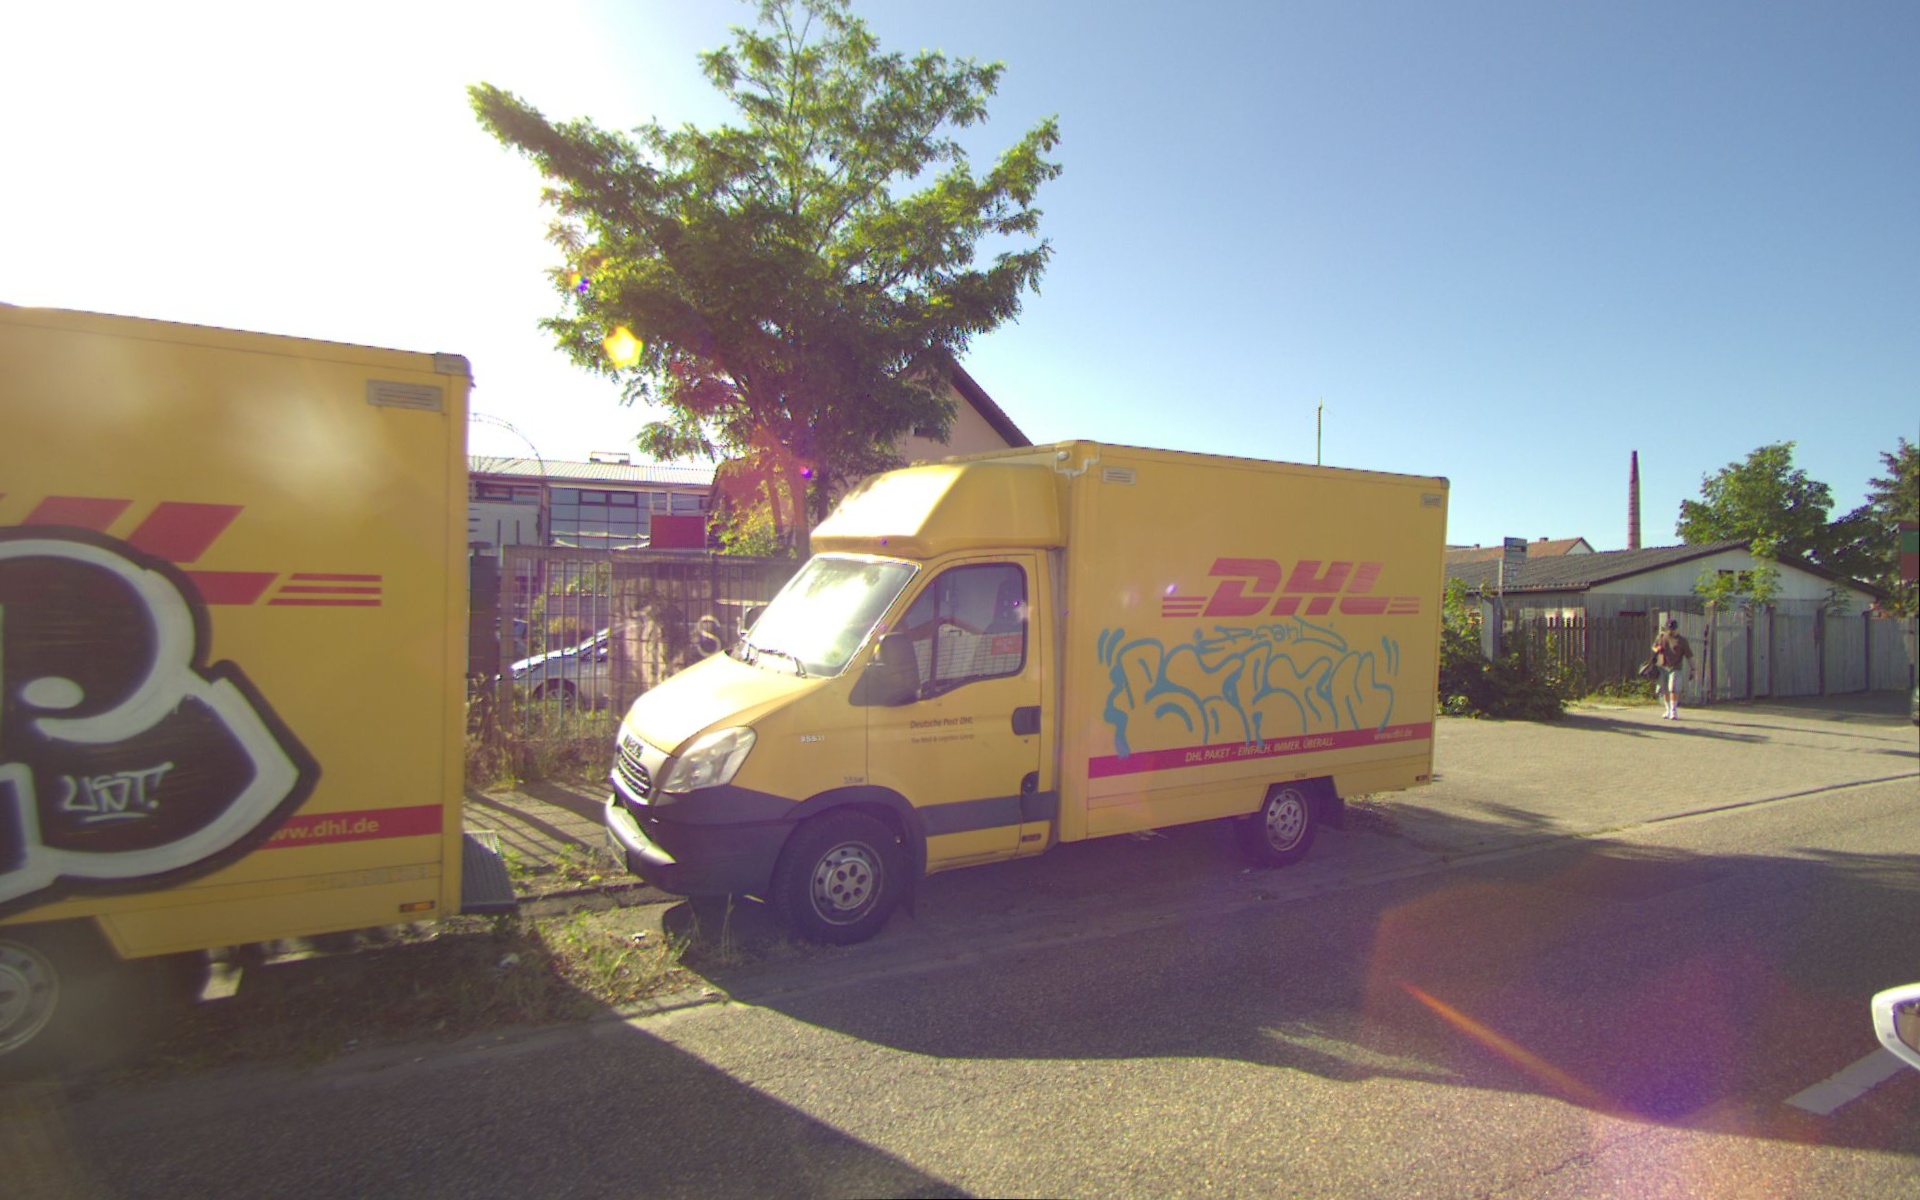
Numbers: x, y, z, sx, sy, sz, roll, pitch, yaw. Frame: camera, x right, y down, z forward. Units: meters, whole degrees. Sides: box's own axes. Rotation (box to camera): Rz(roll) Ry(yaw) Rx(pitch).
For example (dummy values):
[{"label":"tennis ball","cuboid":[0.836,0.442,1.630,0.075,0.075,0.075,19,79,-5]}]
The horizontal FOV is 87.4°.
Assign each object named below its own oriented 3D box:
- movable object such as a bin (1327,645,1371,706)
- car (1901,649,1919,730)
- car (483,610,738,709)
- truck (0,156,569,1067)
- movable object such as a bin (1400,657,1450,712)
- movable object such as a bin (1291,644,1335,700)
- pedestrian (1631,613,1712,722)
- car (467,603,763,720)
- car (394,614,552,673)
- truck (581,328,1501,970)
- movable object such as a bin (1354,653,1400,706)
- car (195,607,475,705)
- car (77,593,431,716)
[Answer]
[{"label":"movable object such as a bin","cuboid":[7.584,1.461,19.575,0.630,1.152,0.498,1,-1,-20]},{"label":"car","cuboid":[19.147,1.626,18.392,4.508,1.422,1.747,2,-2,-33]},{"label":"car","cuboid":[-5.965,1.013,17.501,3.979,1.599,1.694,1,-1,-17]},{"label":"truck","cuboid":[-4.983,-0.010,3.653,6.300,3.023,2.391,2,0,-31]},{"label":"movable object such as a bin","cuboid":[8.224,1.492,17.757,0.630,0.935,0.498,1,-1,-20]},{"label":"movable object such as a bin","cuboid":[7.217,1.467,20.551,0.630,1.123,0.554,1,-1,-20]},{"label":"pedestrian","cuboid":[12.694,1.176,17.919,0.913,1.862,0.988,2,-2,-40]},{"label":"car","cuboid":[-5.085,0.904,15.179,3.979,1.599,1.694,1,-1,-17]},{"label":"car","cuboid":[-13.130,1.178,27.209,3.716,1.514,1.584,2,-2,-27]},{"label":"truck","cuboid":[0.859,0.285,7.142,6.362,2.941,2.182,2,1,-30]},{"label":"movable object such as a bin","cuboid":[7.855,1.495,18.932,0.630,0.967,0.498,1,-1,-20]},{"label":"car","cuboid":[-10.880,0.975,17.808,3.854,1.599,1.694,1,-1,-17]},{"label":"car","cuboid":[-10.411,0.807,15.159,3.979,1.683,1.694,1,-1,-17]}]
